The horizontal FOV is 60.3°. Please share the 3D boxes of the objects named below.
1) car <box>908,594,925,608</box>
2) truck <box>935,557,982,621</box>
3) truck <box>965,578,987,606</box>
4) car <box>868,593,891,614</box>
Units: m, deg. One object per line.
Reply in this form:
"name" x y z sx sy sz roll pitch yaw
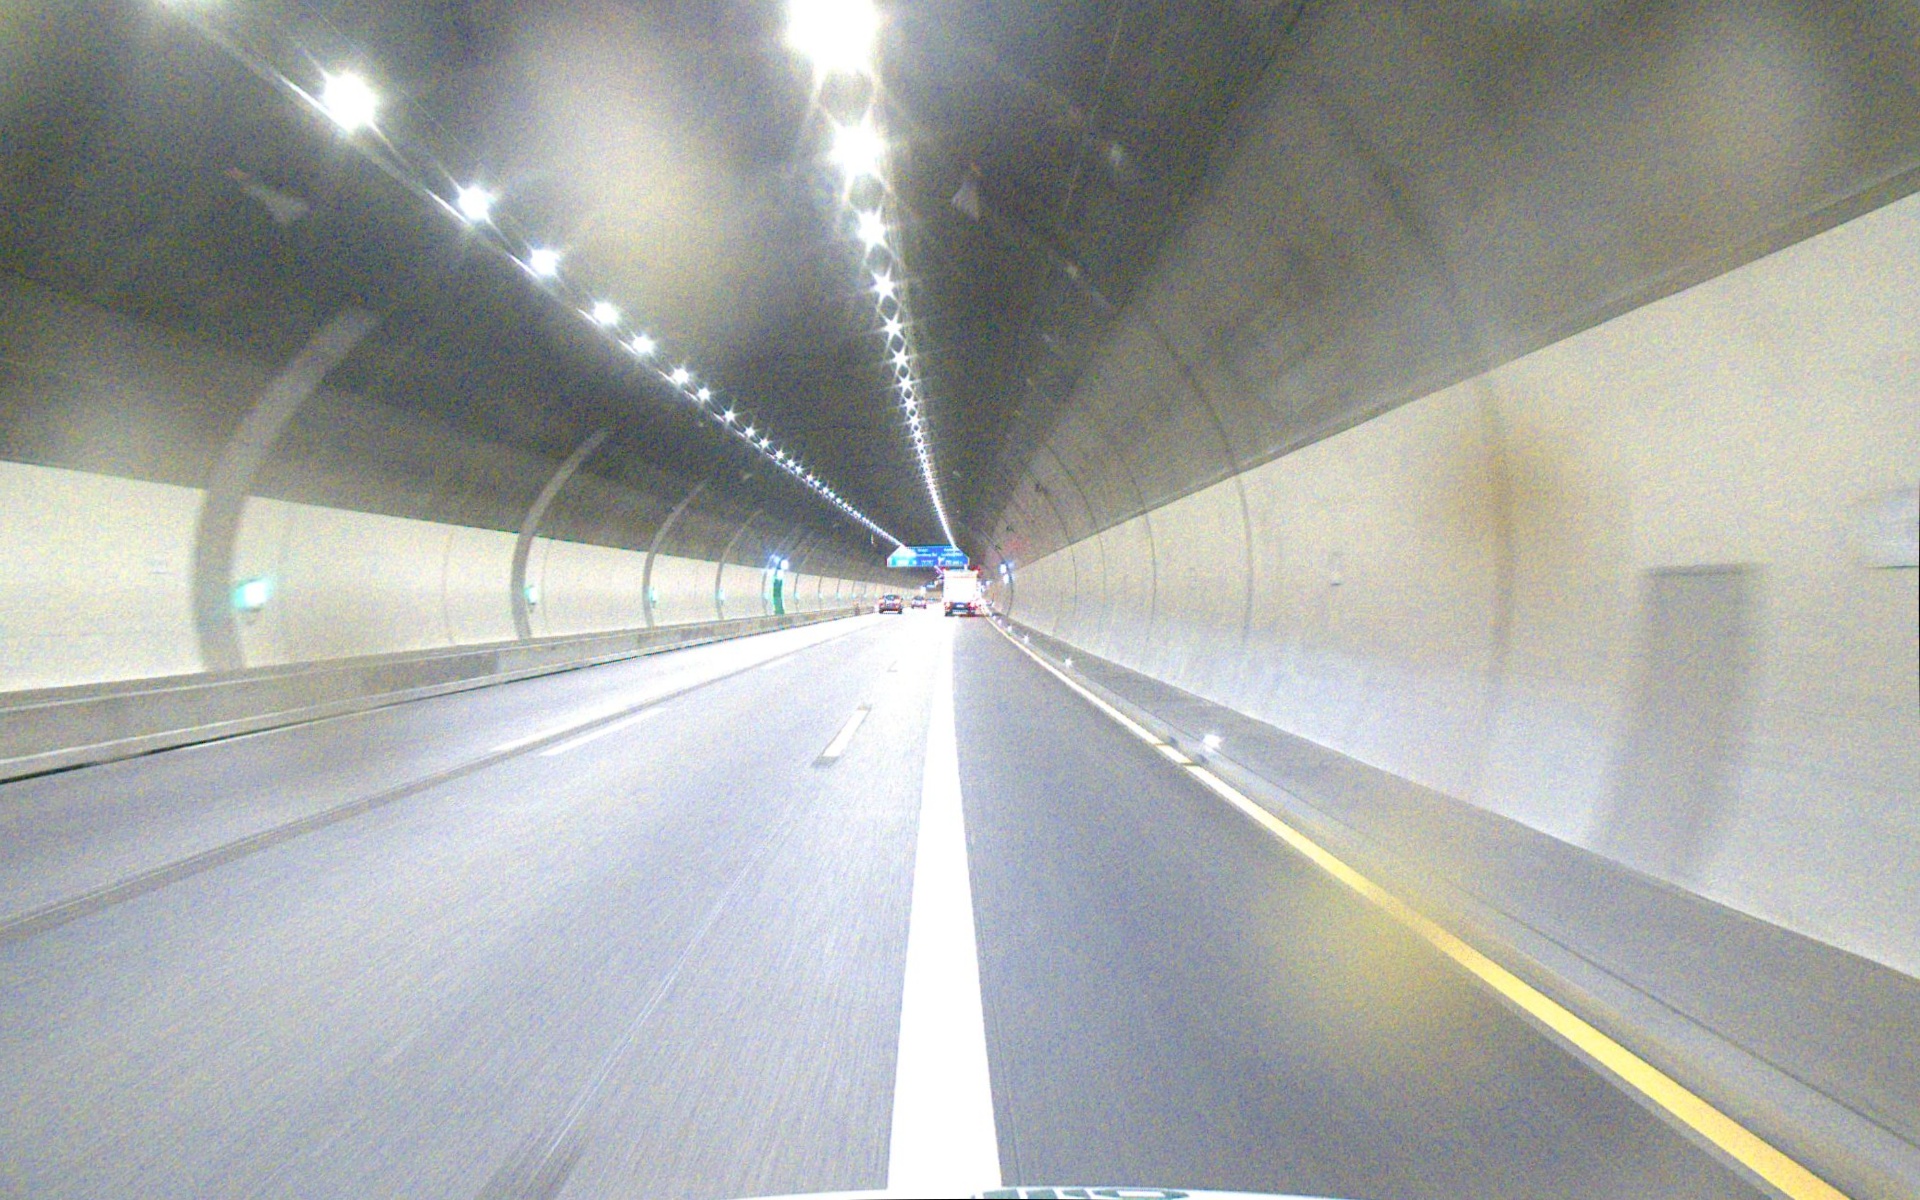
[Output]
"car" -5.007 0.118 190.750 1.776 1.546 3.998 0 2 -3
"truck" -0.207 -0.886 132.592 3.212 4.731 17.280 -1 0 -2
"truck" 2.364 -1.165 249.478 2.863 4.118 14.026 -1 0 -1
"car" -6.590 0.284 135.294 1.776 1.646 3.999 0 0 -2
